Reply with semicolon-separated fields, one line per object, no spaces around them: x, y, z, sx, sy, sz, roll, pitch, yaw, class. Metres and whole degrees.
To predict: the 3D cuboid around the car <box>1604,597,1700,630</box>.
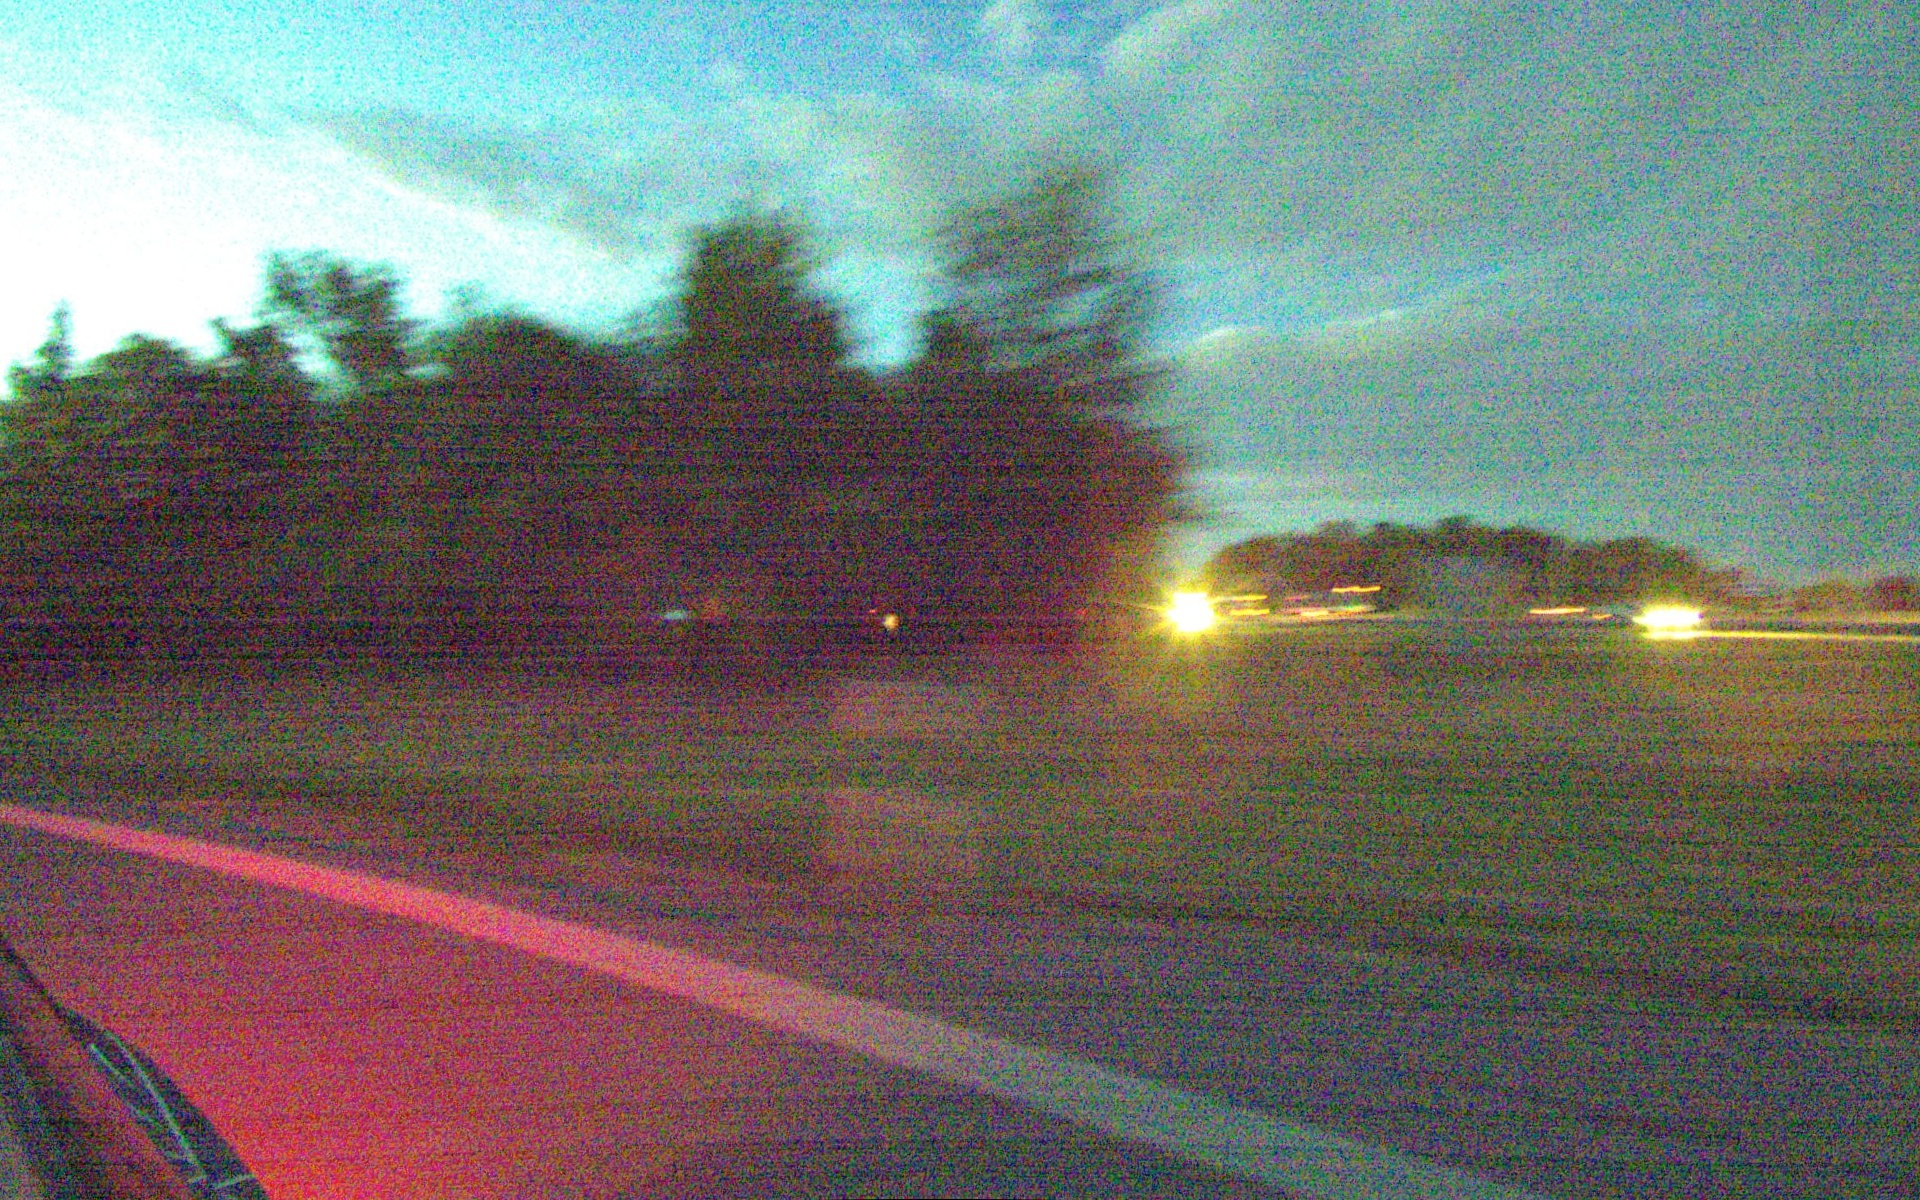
30.626;0.591;44.899;1.709;1.379;3.629;-2;-1;1;car

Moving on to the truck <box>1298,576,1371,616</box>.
45.829;-0.416;124.406;3.175;4.484;12.774;-1;0;-5;truck

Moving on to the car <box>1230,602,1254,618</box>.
39.689;1.424;142.303;1.970;2.217;4.003;-1;-1;-3;car
